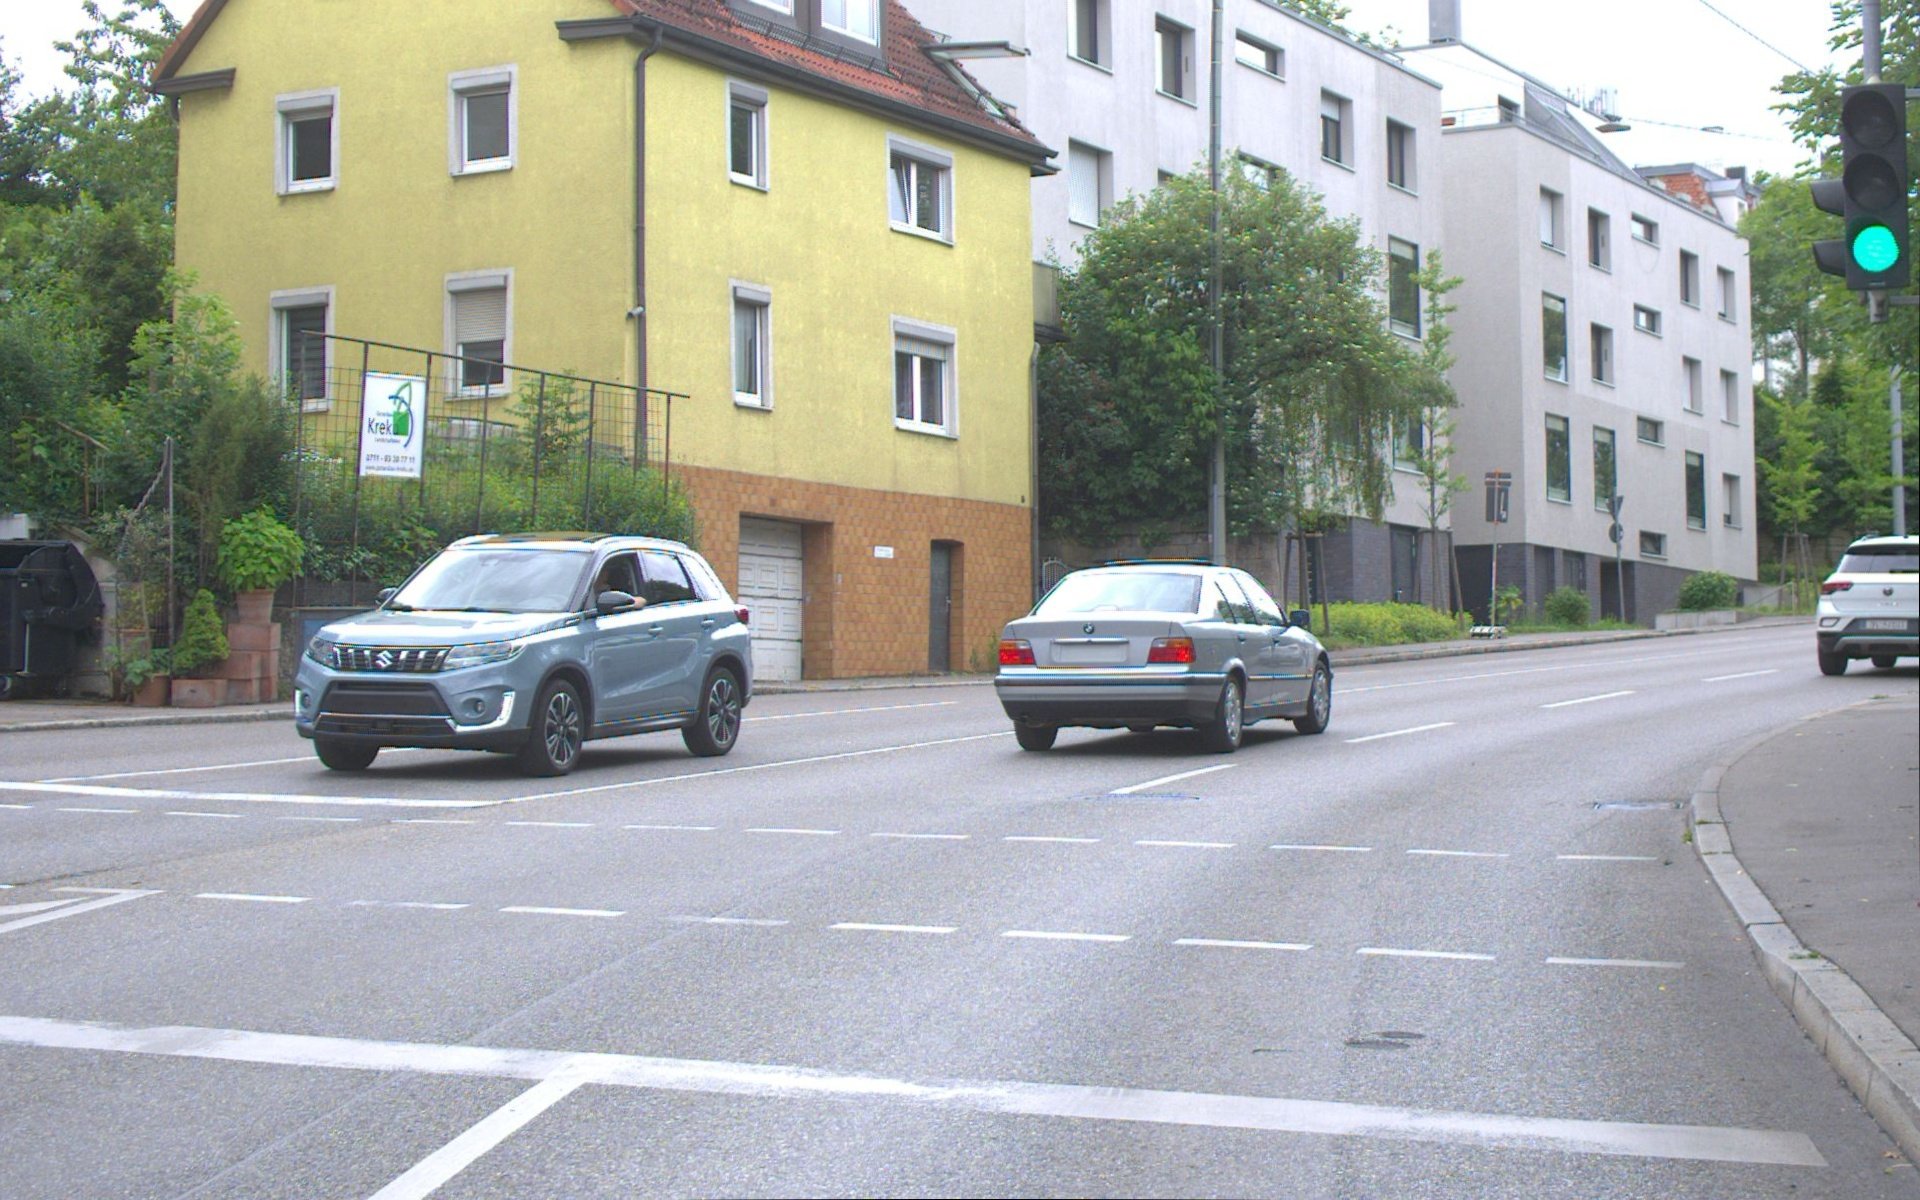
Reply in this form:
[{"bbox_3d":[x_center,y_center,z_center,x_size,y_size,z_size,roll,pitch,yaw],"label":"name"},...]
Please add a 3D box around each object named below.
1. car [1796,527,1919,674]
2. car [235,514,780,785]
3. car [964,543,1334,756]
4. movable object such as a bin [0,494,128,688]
[{"bbox_3d":[10.944,-0.001,39.027,1.783,1.573,3.993,1,1,30],"label":"car"},{"bbox_3d":[-3.007,0.302,23.854,1.898,1.689,4.342,1,0,21],"label":"car"},{"bbox_3d":[1.519,0.327,26.085,1.708,1.459,3.996,-1,1,20],"label":"car"},{"bbox_3d":[-8.831,-0.096,32.405,1.762,1.773,1.855,1,0,-9],"label":"movable object such as a bin"}]
